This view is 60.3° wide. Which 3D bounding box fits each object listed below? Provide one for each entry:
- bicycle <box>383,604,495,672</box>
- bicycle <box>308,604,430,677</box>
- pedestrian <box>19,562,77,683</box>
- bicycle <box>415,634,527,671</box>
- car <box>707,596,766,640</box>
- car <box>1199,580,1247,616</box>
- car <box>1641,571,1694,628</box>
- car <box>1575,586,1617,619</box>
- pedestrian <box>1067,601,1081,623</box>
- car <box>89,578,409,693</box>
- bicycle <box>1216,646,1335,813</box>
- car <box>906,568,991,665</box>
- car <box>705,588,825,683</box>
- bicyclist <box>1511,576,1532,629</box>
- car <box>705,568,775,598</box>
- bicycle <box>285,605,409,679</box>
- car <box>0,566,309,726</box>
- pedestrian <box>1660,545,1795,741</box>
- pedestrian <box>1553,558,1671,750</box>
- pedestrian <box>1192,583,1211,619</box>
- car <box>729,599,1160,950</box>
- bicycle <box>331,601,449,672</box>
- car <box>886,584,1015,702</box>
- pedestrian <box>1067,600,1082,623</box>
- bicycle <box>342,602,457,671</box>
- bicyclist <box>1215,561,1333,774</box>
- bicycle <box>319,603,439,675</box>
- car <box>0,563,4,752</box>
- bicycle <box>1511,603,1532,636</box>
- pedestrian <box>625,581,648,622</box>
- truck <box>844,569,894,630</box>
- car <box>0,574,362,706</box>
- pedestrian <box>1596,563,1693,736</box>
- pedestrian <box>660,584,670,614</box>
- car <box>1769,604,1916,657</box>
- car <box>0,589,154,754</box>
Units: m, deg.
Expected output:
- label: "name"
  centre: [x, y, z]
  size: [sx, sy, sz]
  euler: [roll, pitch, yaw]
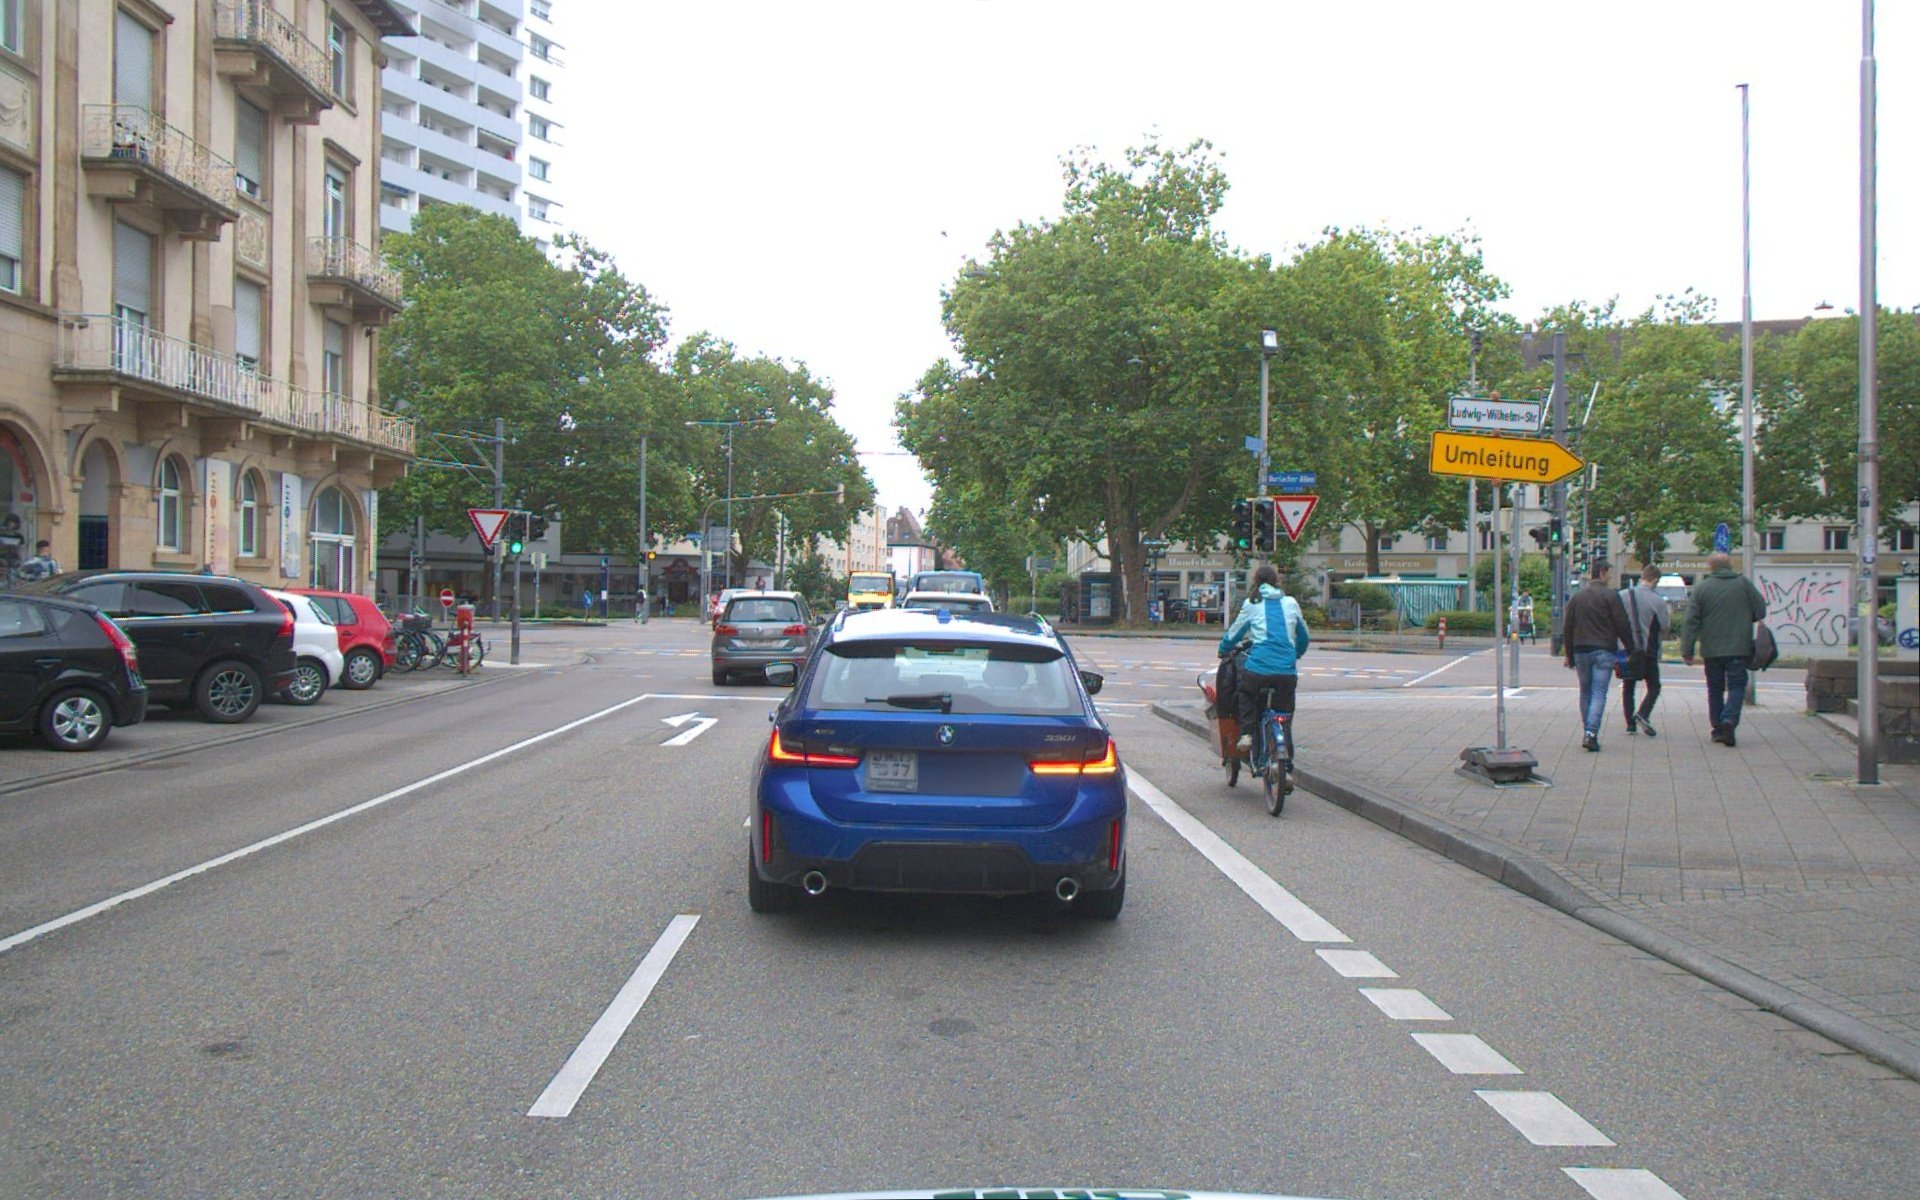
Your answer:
- label: "bicycle"
  centre: [-9.740, 0.710, 30.930]
  size: [1.849, 1.053, 0.442]
  euler: [6, 0, -3]
- label: "bicycle"
  centre: [-10.189, 0.695, 28.542]
  size: [1.849, 1.053, 0.442]
  euler: [6, 0, -3]
- label: "pedestrian"
  centre: [-13.856, 0.332, 25.139]
  size: [0.555, 1.816, 0.551]
  euler: [0, 0, 0]
- label: "bicycle"
  centre: [-9.437, 1.012, 31.973]
  size: [1.849, 0.453, 1.028]
  euler: [6, 1, -3]
- label: "car"
  centre: [-7.786, 0.597, 57.823]
  size: [1.615, 1.472, 3.510]
  euler: [0, 0, -1]
- label: "car"
  centre: [16.964, -0.104, 106.374]
  size: [2.130, 2.239, 3.998]
  euler: [0, 0, 23]
- label: "car"
  centre: [34.988, -0.030, 81.710]
  size: [2.191, 2.685, 5.443]
  euler: [1, 0, 25]
- label: "car"
  centre: [30.953, 0.107, 80.420]
  size: [1.632, 1.542, 3.935]
  euler: [1, 0, 25]
- label: "pedestrian"
  centre: [7.014, 0.718, 101.905]
  size: [0.835, 1.337, 0.762]
  euler: [0, 0, -1]
- label: "car"
  centre: [-10.325, 0.513, 24.248]
  size: [1.653, 1.498, 3.978]
  euler: [3, 0, 40]
- label: "bicycle"
  centre: [2.411, 0.949, 12.842]
  size: [0.484, 1.117, 2.138]
  euler: [0, 0, -1]
- label: "car"
  centre: [-0.265, 0.346, 36.863]
  size: [1.778, 2.040, 3.999]
  euler: [0, 0, -1]
- label: "car"
  centre: [-3.358, 0.577, 29.102]
  size: [1.697, 1.551, 3.999]
  euler: [0, 0, -1]
- label: "bicyclist"
  centre: [17.794, 0.074, 52.364]
  size: [0.601, 1.683, 0.754]
  euler: [0, 0, 20]
- label: "car"
  centre: [-13.872, -1.054, 104.292]
  size: [3.953, 1.736, 1.976]
  euler: [1, -1, -35]
- label: "bicycle"
  centre: [-10.265, 0.695, 27.725]
  size: [1.848, 1.053, 0.442]
  euler: [5, 0, 2]
- label: "car"
  centre: [-9.826, 0.492, 18.790]
  size: [4.192, 1.680, 1.704]
  euler: [1, 0, -44]
- label: "pedestrian"
  centre: [7.320, 0.394, 15.819]
  size: [0.788, 1.789, 0.969]
  euler: [-2, 0, -1]
- label: "pedestrian"
  centre: [6.052, 0.482, 15.389]
  size: [0.660, 1.715, 0.969]
  euler: [-2, 0, -1]
- label: "pedestrian"
  centre: [11.934, 0.043, 81.746]
  size: [0.768, 1.774, 0.925]
  euler: [0, 0, -2]
- label: "car"
  centre: [-0.090, 0.723, 9.008]
  size: [1.778, 1.430, 4.319]
  euler: [0, 0, -1]
- label: "bicycle"
  centre: [-10.238, 0.653, 29.739]
  size: [1.849, 1.053, 0.442]
  euler: [6, 0, -3]
- label: "car"
  centre: [-0.155, 0.585, 24.909]
  size: [1.778, 1.620, 3.999]
  euler: [0, 0, -1]
- label: "pedestrian"
  centre: [7.037, 0.693, 101.637]
  size: [0.801, 1.396, 0.762]
  euler: [0, 0, -1]
- label: "bicycle"
  centre: [-10.284, 0.669, 30.374]
  size: [1.849, 1.053, 0.442]
  euler: [6, 0, -3]
- label: "bicyclist"
  centre: [2.362, 0.489, 12.528]
  size: [0.672, 1.544, 1.058]
  euler: [0, 0, -1]
- label: "bicycle"
  centre: [-10.211, 0.676, 29.077]
  size: [1.849, 1.053, 0.442]
  euler: [6, 0, -3]
- label: "car"
  centre: [-9.568, 0.532, 12.432]
  size: [3.937, 1.754, 1.826]
  euler: [1, 0, -26]
- label: "bicycle"
  centre: [17.802, 0.617, 52.404]
  size: [0.540, 1.013, 2.061]
  euler: [0, 0, 21]
- label: "pedestrian"
  centre: [-14.361, 0.065, 73.454]
  size: [0.664, 1.802, 0.722]
  euler: [0, 0, 41]
- label: "truck"
  centre: [-3.798, -0.051, 69.719]
  size: [2.033, 2.450, 5.459]
  euler: [0, 0, -3]
- label: "car"
  centre: [-10.002, 0.541, 21.356]
  size: [3.968, 1.498, 1.540]
  euler: [3, 0, -44]
- label: "pedestrian"
  centre: [6.992, 0.488, 16.933]
  size: [0.619, 1.702, 0.970]
  euler: [-2, 0, 6]
- label: "pedestrian"
  centre: [-17.259, -0.057, 96.855]
  size: [0.561, 1.802, 0.513]
  euler: [0, 0, -13]
- label: "car"
  centre: [27.589, 0.933, 51.804]
  size: [3.895, 1.589, 1.687]
  euler: [0, 0, 22]
- label: "car"
  centre: [-9.879, 0.638, 15.448]
  size: [3.959, 1.521, 1.708]
  euler: [1, 0, -39]
